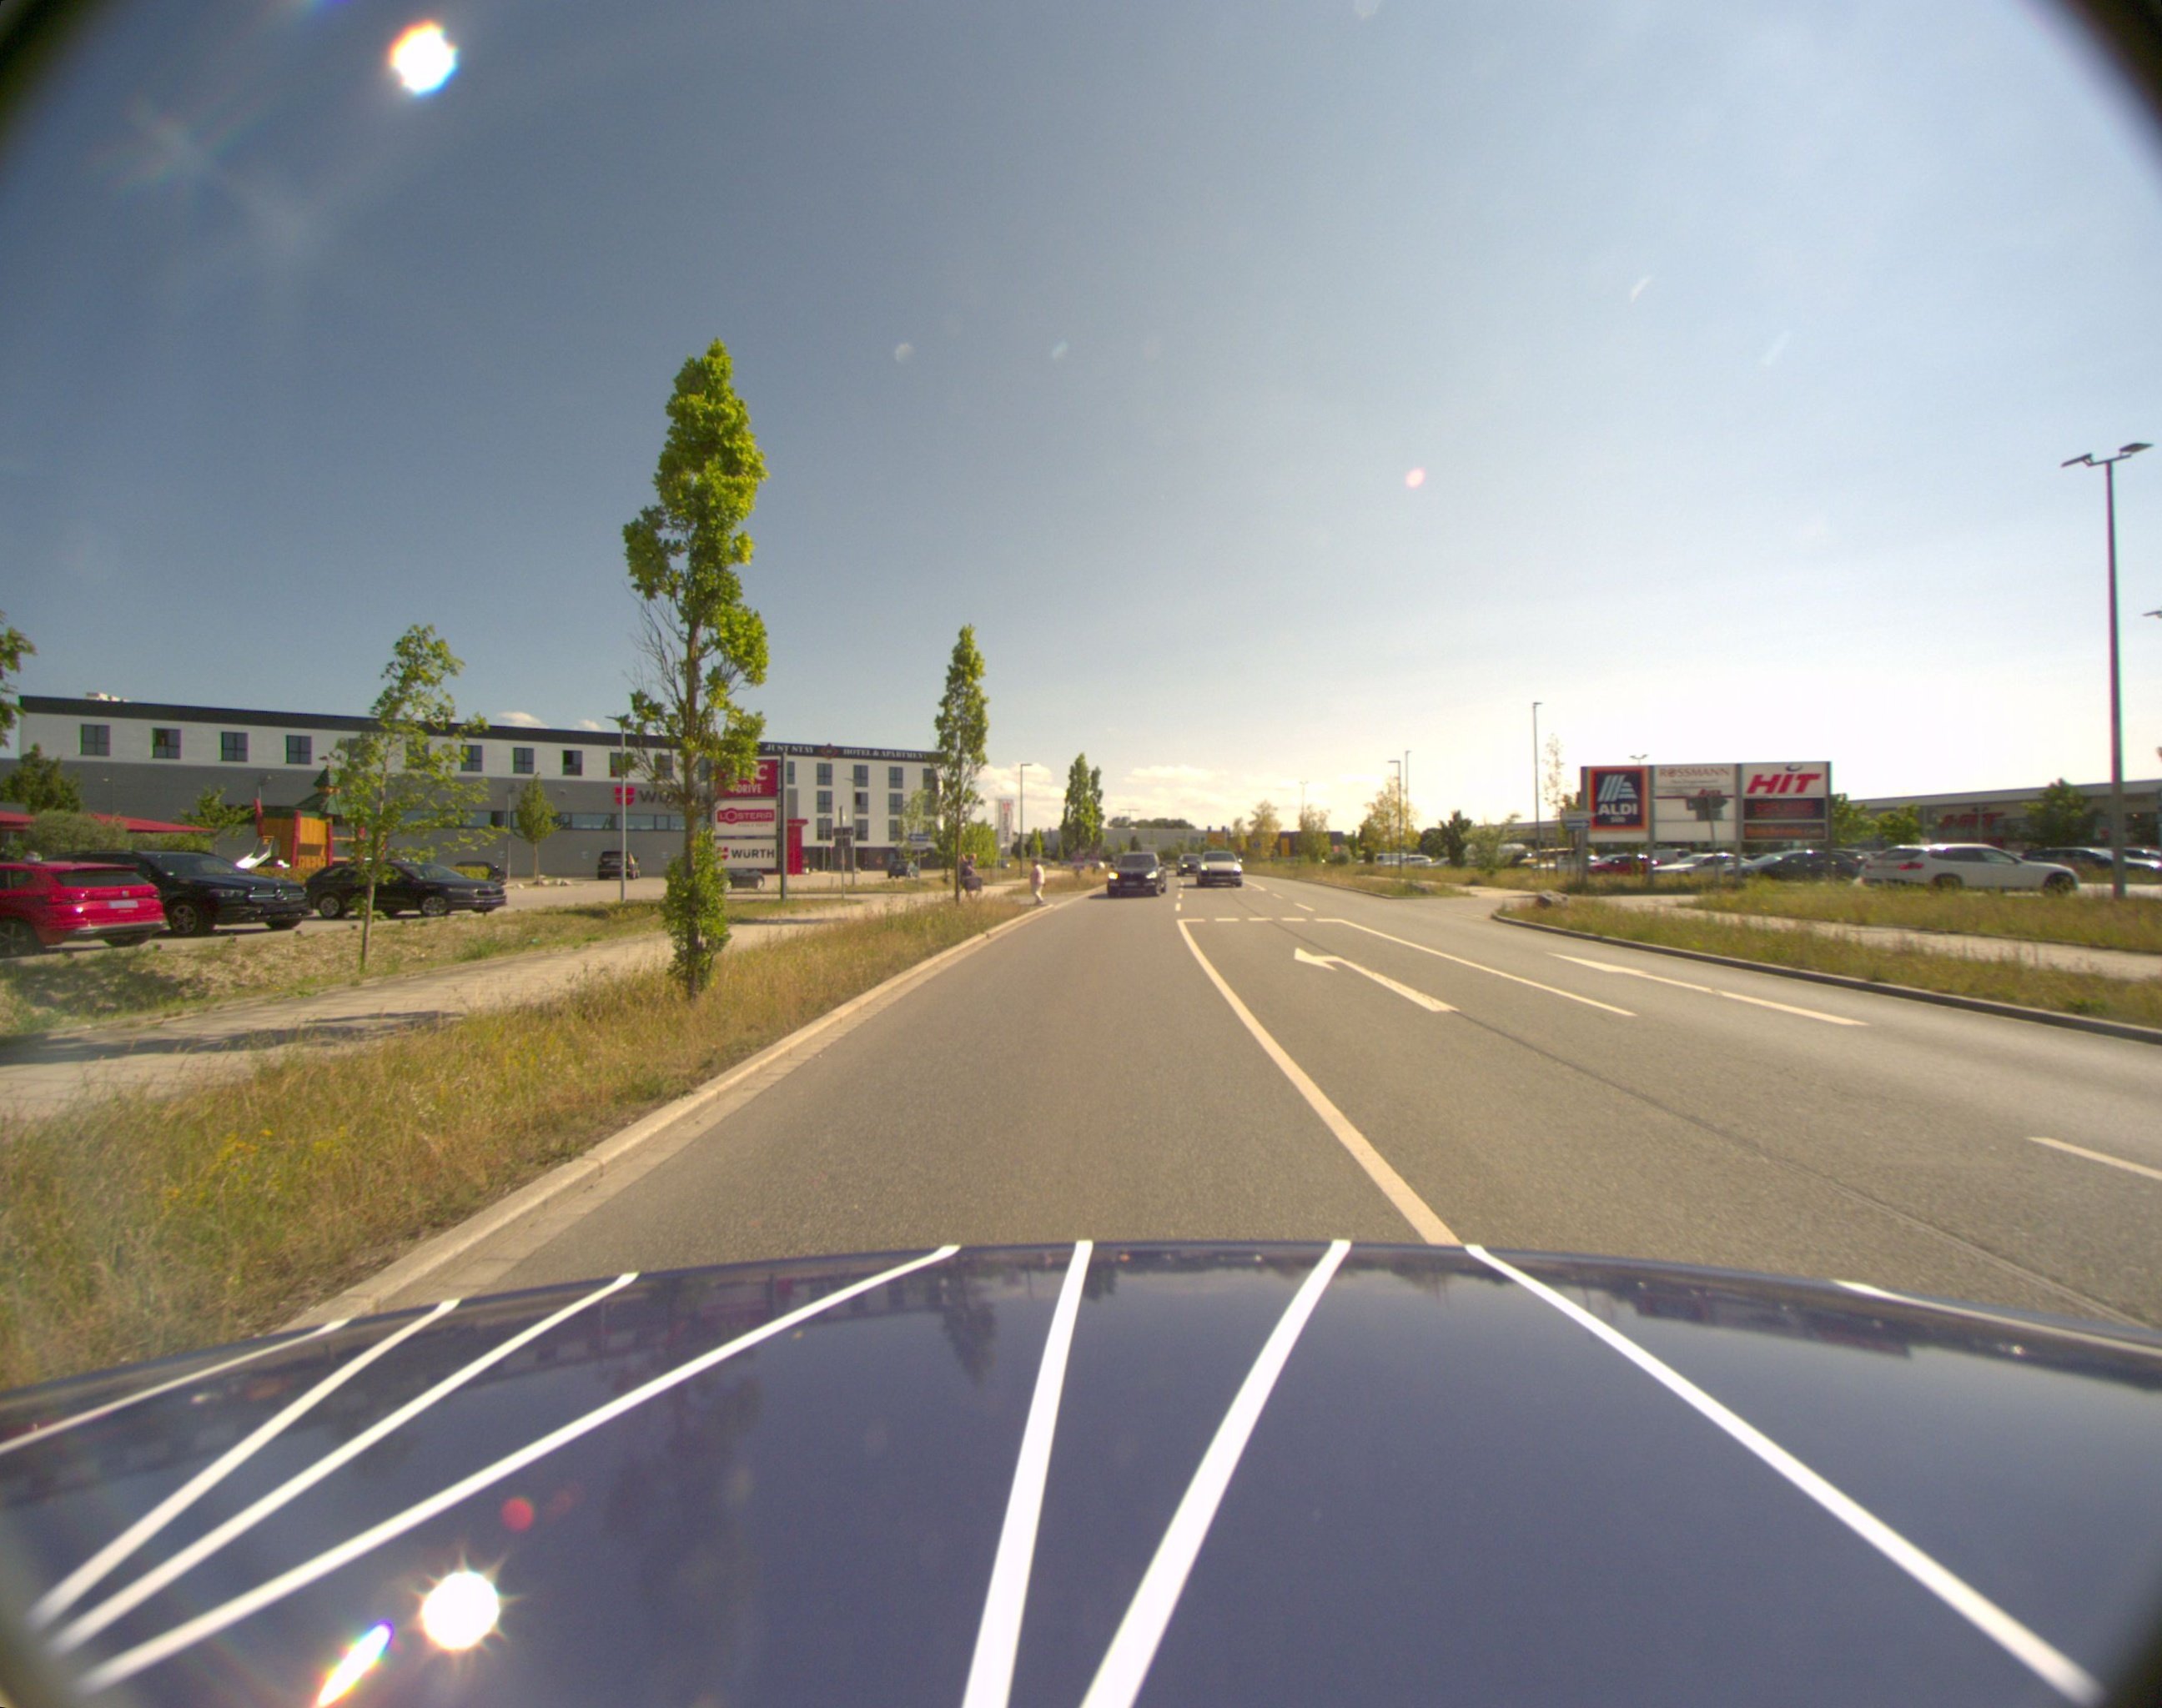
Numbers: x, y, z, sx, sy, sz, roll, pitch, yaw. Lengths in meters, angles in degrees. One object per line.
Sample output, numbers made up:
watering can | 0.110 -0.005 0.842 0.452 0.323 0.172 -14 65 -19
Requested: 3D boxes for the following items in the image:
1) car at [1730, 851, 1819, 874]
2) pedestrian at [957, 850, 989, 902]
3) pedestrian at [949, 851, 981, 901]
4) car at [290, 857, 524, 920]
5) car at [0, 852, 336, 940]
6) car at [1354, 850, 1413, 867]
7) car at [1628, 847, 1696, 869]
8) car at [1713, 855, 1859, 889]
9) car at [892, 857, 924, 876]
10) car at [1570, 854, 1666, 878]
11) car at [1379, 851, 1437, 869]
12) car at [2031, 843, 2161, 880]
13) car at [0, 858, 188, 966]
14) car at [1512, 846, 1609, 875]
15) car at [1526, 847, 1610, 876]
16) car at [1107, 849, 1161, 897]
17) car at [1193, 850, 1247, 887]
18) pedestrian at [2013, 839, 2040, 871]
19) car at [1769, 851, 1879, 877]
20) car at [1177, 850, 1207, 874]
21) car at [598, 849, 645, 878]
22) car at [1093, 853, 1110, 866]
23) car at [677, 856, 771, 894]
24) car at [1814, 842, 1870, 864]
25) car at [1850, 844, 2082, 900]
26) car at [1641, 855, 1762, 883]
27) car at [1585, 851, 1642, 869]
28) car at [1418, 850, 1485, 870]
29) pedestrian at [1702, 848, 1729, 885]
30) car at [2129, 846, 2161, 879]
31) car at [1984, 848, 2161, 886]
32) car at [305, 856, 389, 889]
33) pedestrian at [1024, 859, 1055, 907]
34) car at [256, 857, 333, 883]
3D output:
car | 47.421 0.546 52.079 1.718 1.517 4.350 0 0 -13
pedestrian | -3.405 0.692 24.054 0.802 1.620 0.805 -1 1 6
pedestrian | -3.796 0.706 24.882 0.810 1.619 0.866 -1 1 6
car | -17.715 0.870 20.138 4.417 1.557 1.995 0 0 0
car | -19.315 0.846 16.178 4.994 1.724 1.939 0 0 0
car | 30.590 0.491 76.885 5.197 1.662 1.999 0 0 -8
car | 49.245 0.335 64.480 1.718 1.730 4.579 0 0 -12
car | 29.166 0.729 31.551 4.152 1.340 1.937 0 0 5
car | -13.154 0.950 57.907 1.517 1.399 4.000 0 0 0
car | 31.101 0.683 44.119 4.152 1.340 1.937 0 0 5
car | 30.860 0.518 71.825 4.602 1.662 1.999 0 0 -3
car | 46.299 0.325 34.035 1.718 1.551 4.349 0 0 -16
car | -18.624 0.934 12.920 4.419 1.724 1.790 1 0 -6
car | 33.964 0.459 53.947 5.696 1.953 2.000 0 0 -2
car | 31.347 0.469 48.986 4.153 1.850 1.933 0 0 3
car | 1.999 0.746 29.596 1.900 1.669 4.468 -1 -2 2
car | 6.559 0.713 36.355 2.113 1.633 4.780 -1 -2 5
pedestrian | 54.569 0.046 43.859 0.570 1.813 0.780 -1 1 -14
car | 43.588 0.572 44.707 1.718 1.408 4.349 0 0 -16
car | 8.045 0.588 55.297 1.756 1.677 4.382 0 0 3
car | -30.168 0.605 50.057 2.051 1.805 4.914 0 0 -24
car | 2.467 0.697 91.556 1.786 1.485 3.999 -1 0 -2
car | -15.520 0.868 33.304 1.783 1.531 4.171 0 0 6
car | 64.784 -0.102 64.685 4.359 1.797 1.714 0 0 -20
car | 25.552 0.518 22.088 4.221 1.538 1.918 0 0 6
car | 29.795 0.714 36.617 4.152 1.340 1.937 0 0 5
car | 50.156 0.557 71.693 1.718 1.578 4.349 0 0 -15
car | 31.169 0.501 64.022 4.714 1.662 2.000 0 0 -1
pedestrian | 29.651 0.570 35.514 0.766 1.685 0.579 0 1 6
car | 51.803 0.384 34.685 1.718 1.535 4.349 0 0 -16
car | 41.300 0.513 31.704 1.718 1.507 4.349 0 0 -16
car | -35.091 0.851 36.465 1.704 1.463 4.223 -1 0 -27
pedestrian | -1.299 0.912 24.027 0.794 1.461 0.949 -1 1 6
car | -45.250 0.886 43.822 1.704 1.454 4.100 -1 0 -26
